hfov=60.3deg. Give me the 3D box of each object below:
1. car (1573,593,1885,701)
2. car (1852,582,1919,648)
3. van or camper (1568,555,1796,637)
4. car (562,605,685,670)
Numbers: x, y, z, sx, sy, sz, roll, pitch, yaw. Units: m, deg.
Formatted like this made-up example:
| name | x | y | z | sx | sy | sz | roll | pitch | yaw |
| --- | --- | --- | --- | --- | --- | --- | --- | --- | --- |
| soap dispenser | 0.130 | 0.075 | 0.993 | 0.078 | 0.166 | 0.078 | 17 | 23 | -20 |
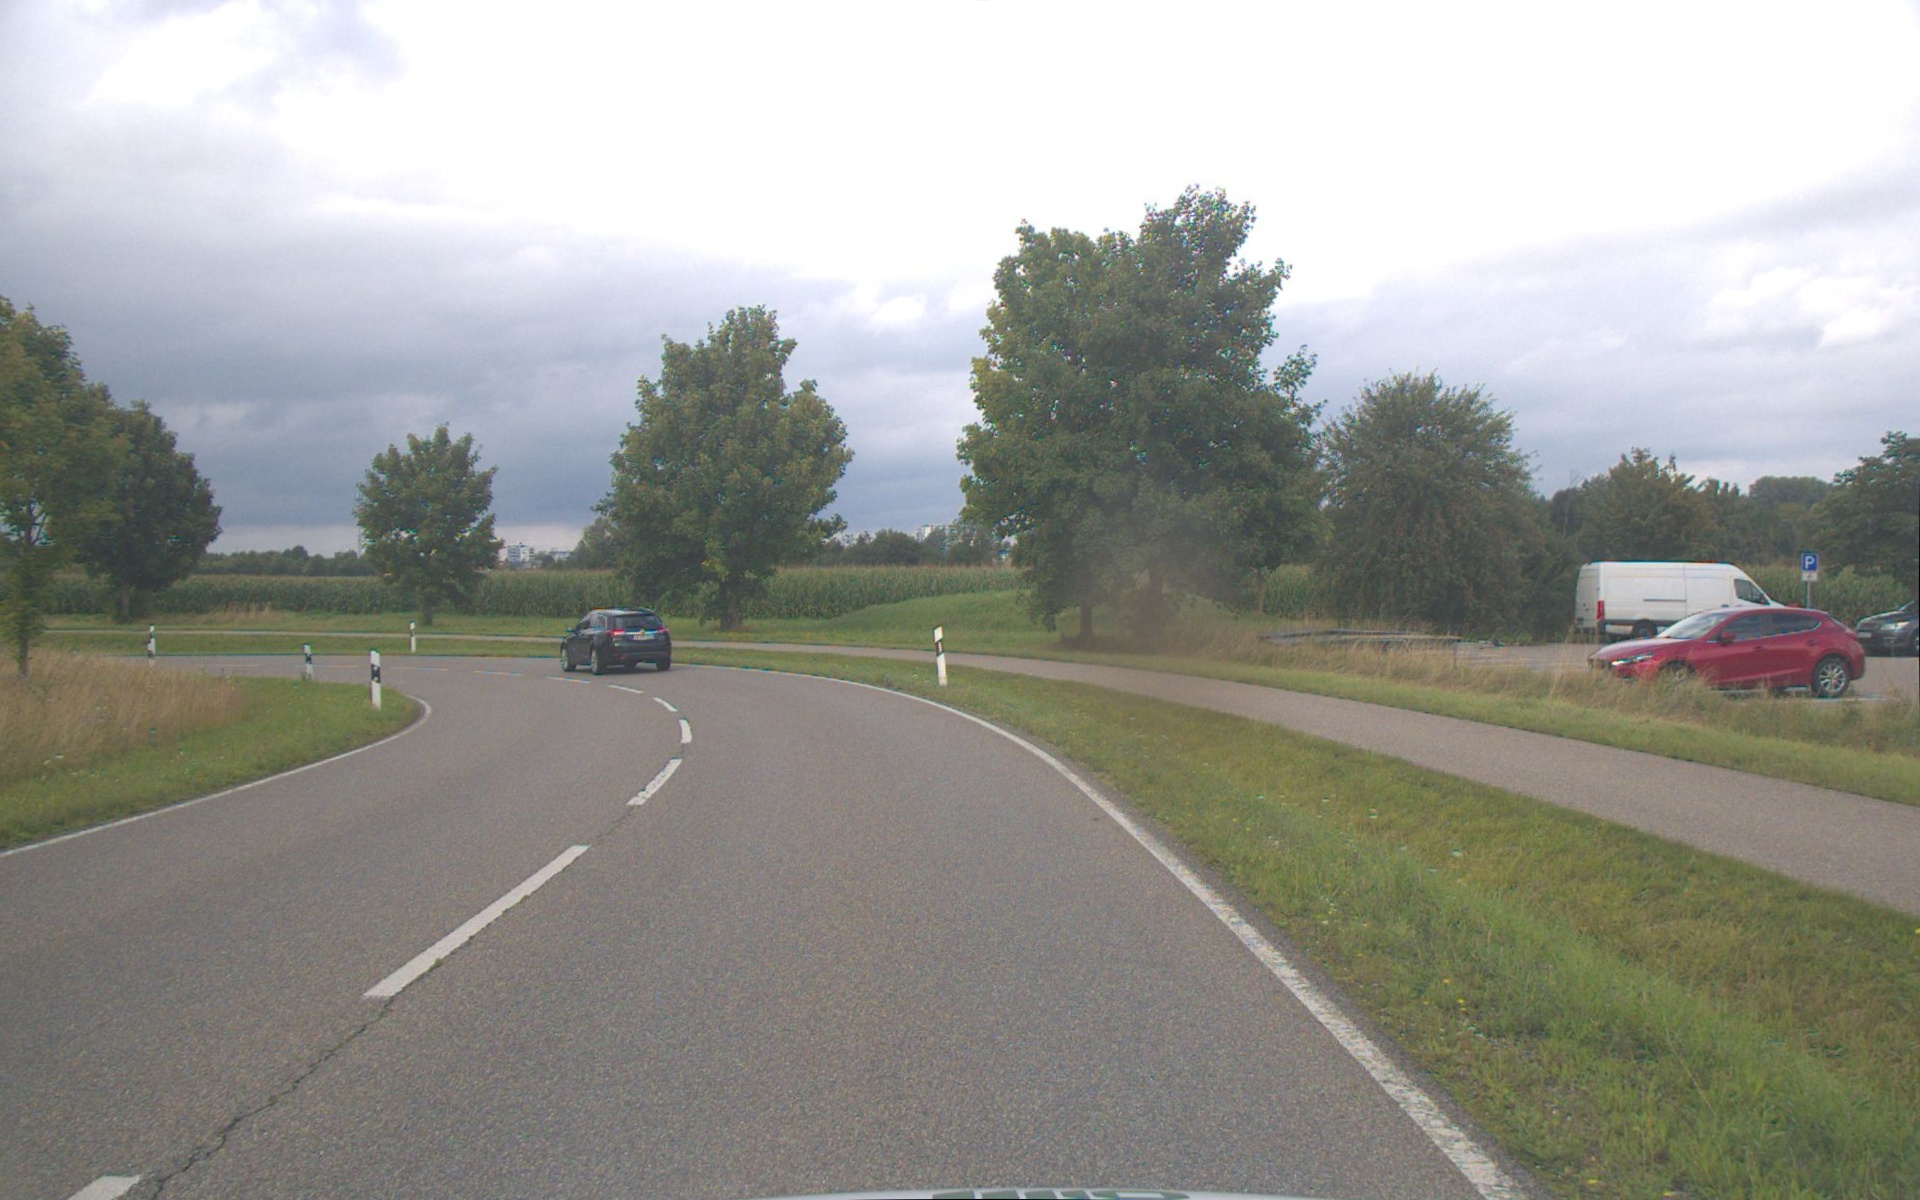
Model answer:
| name | x | y | z | sx | sy | sz | roll | pitch | yaw |
| --- | --- | --- | --- | --- | --- | --- | --- | --- | --- |
| car | 12.641 | 0.734 | 27.343 | 4.245 | 1.603 | 1.969 | -1 | 0 | -6 |
| car | 22.551 | 0.329 | 37.687 | 3.553 | 1.465 | 1.706 | 0 | 0 | -3 |
| van or camper | 23.508 | -0.119 | 54.006 | 6.605 | 2.606 | 2.048 | 0 | 0 | -1 |
| car | -8.086 | 0.858 | 39.513 | 1.821 | 1.442 | 3.962 | 0 | 0 | -29 |
